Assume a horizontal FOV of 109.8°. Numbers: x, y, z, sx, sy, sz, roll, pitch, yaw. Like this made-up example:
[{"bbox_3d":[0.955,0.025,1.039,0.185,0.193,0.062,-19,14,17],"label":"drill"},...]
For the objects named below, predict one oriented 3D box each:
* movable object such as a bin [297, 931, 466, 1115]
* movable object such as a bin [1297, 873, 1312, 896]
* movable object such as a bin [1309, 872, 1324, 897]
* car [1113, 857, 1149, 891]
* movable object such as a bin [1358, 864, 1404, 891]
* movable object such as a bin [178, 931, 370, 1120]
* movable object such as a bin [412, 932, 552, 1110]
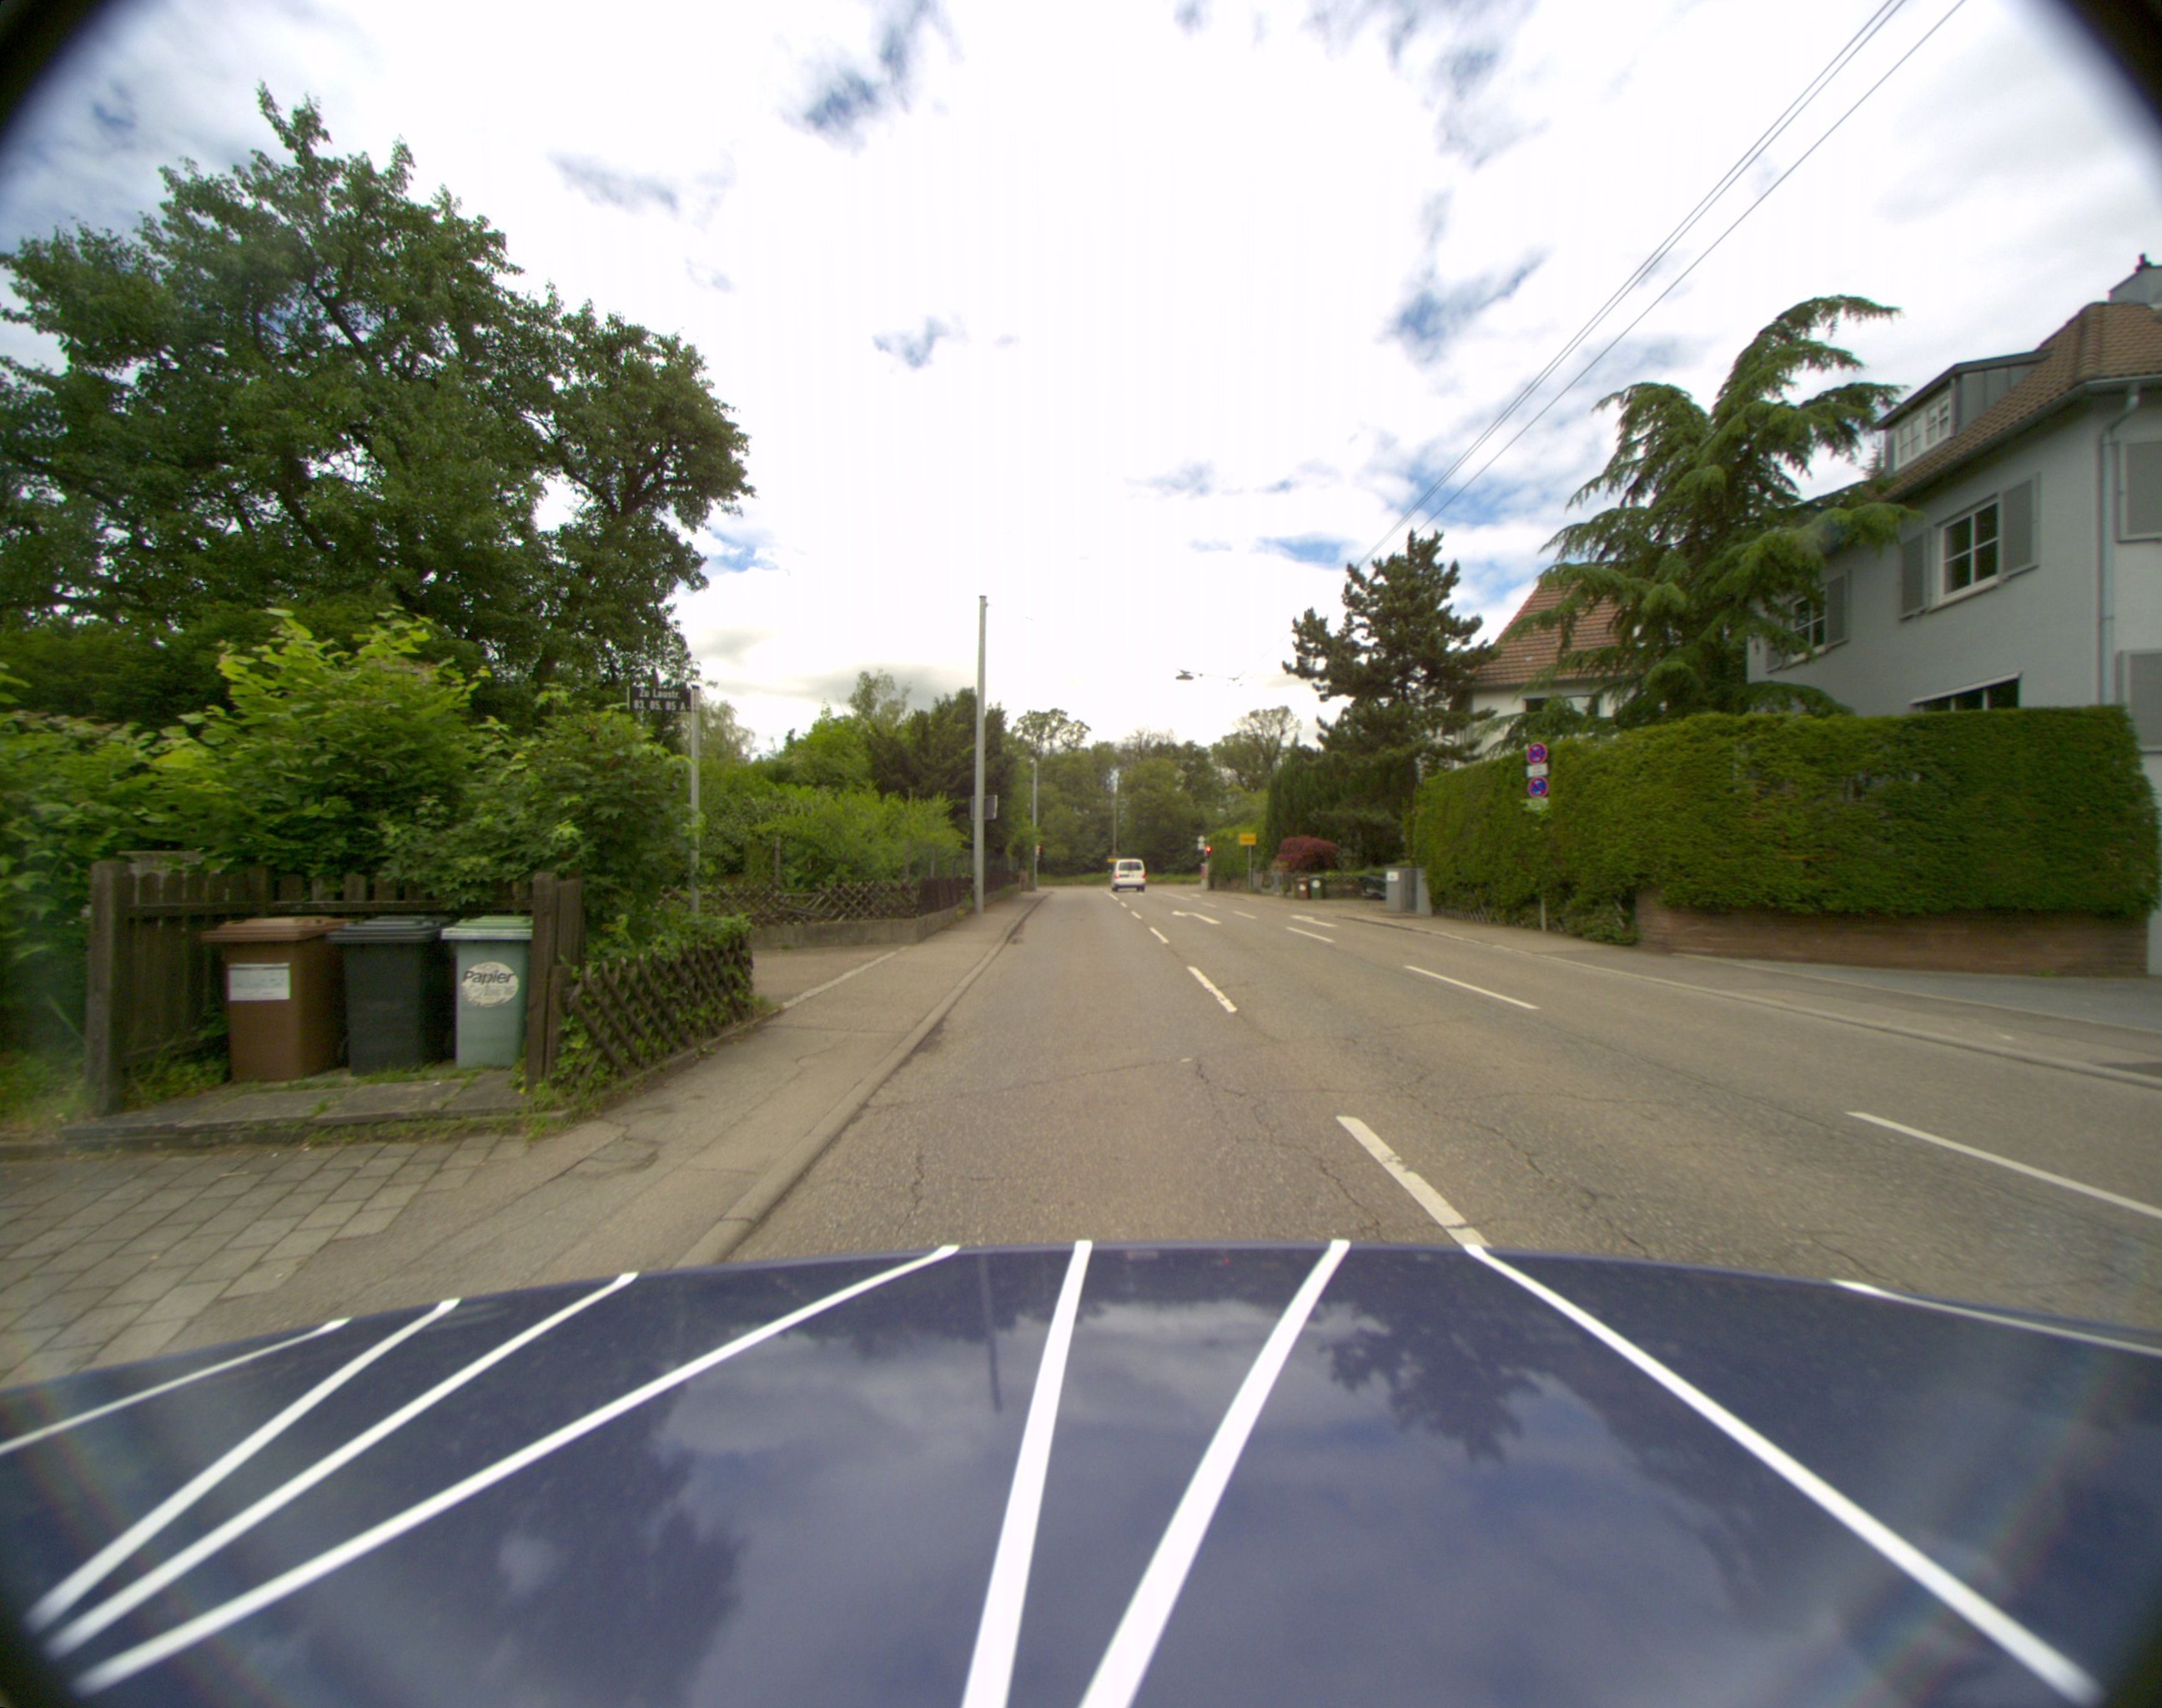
[{"bbox_3d":[-4.181,0.977,4.589,0.448,0.950,0.685,3,-1,-16],"label":"movable object such as a bin"},{"bbox_3d":[9.641,1.308,32.766,0.464,0.936,0.648,-1,0,29],"label":"movable object such as a bin"},{"bbox_3d":[10.069,1.305,32.506,0.479,1.028,0.717,-1,0,29],"label":"movable object such as a bin"},{"bbox_3d":[3.117,1.225,48.172,1.863,2.035,5.172,0,-1,0],"label":"car"},{"bbox_3d":[12.255,0.970,31.033,1.593,1.074,0.718,-2,0,31],"label":"movable object such as a bin"},{"bbox_3d":[-4.691,0.964,4.463,0.448,0.950,0.685,3,-1,-16],"label":"movable object such as a bin"},{"bbox_3d":[-3.710,1.002,4.753,0.448,0.950,0.685,3,-1,-20],"label":"movable object such as a bin"}]
